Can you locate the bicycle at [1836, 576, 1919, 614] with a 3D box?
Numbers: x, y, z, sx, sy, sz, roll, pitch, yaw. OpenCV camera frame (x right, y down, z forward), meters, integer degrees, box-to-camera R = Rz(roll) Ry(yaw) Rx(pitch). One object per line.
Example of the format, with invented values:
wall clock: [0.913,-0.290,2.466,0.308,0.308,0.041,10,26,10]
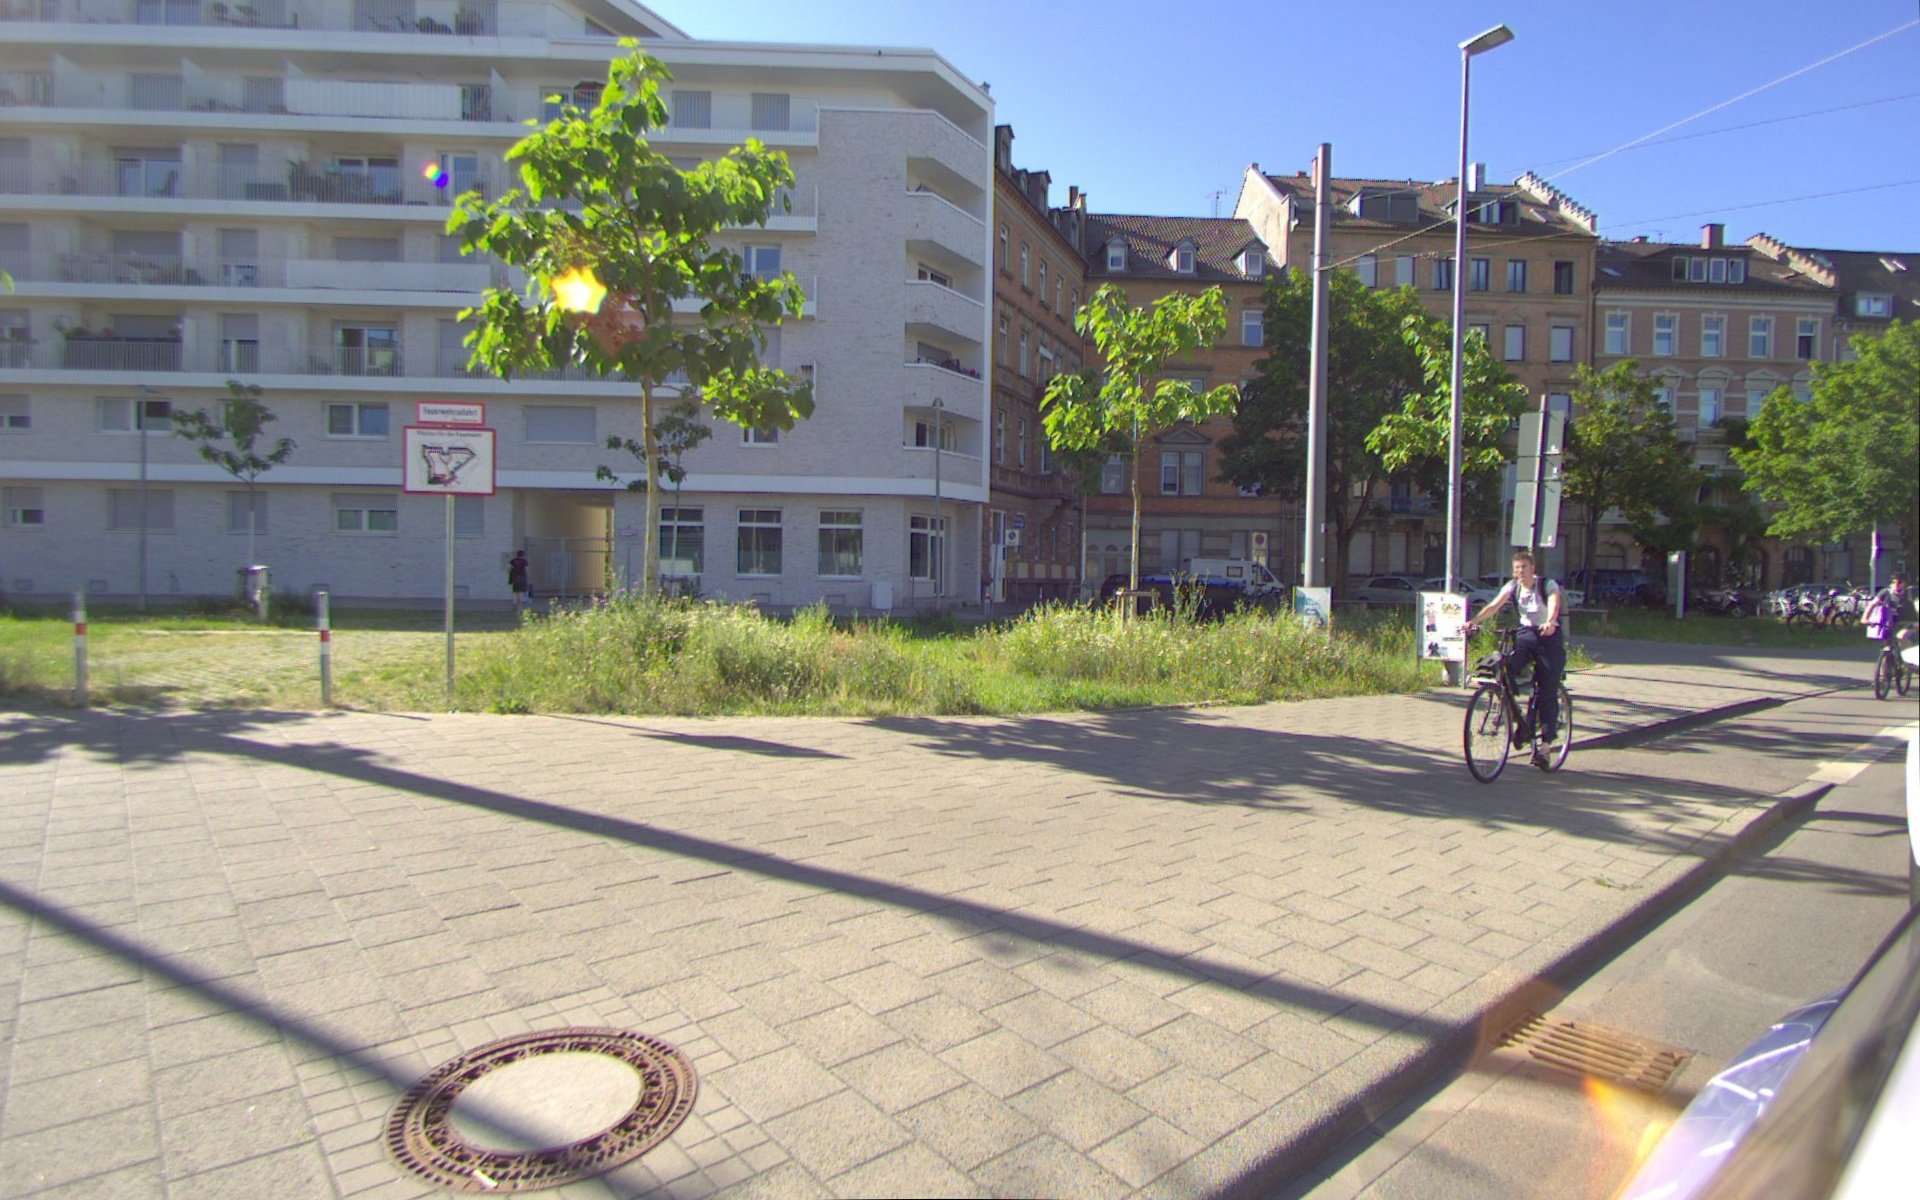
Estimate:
bicycle: [31.627,-0.168,34.764,2.180,1.284,0.657,0,0,25]

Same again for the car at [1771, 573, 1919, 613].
car: [34.683,-0.323,39.593,1.651,1.423,4.324,-1,3,-38]

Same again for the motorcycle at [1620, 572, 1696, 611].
motorcycle: [25.336,-0.309,36.781,0.650,1.347,2.207,0,0,-28]

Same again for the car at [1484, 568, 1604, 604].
car: [22.326,-0.581,38.774,1.513,1.267,3.700,-1,3,-39]

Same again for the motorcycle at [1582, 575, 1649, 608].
motorcycle: [26.024,-0.331,40.226,0.649,1.293,2.324,0,0,-18]

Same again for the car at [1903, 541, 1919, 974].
car: [5.866,0.606,4.717,4.323,1.667,1.840,0,0,-43]

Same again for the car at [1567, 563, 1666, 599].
car: [30.873,-0.923,47.651,3.631,1.607,1.552,1,2,0]

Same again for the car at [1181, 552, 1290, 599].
car: [12.658,-1.157,46.784,4.416,2.062,2.054,1,2,0]

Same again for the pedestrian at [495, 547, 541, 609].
pedestrian: [-12.586,-0.628,28.853,0.829,1.717,0.985,2,2,2]

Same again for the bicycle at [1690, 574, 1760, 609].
bicycle: [28.367,-0.313,37.566,0.649,1.284,2.208,0,0,-11]

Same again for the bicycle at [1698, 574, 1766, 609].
bicycle: [29.078,-0.322,38.153,0.649,1.284,2.208,0,0,-9]

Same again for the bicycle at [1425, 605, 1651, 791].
bicycle: [4.422,0.663,7.678,2.114,1.212,0.669,0,1,-36]

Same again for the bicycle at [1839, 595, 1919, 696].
bicycle: [13.657,0.619,14.721,2.034,1.378,0.738,0,1,-32]

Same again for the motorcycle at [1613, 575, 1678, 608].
motorcycle: [27.485,-0.337,40.612,0.649,1.284,2.209,0,0,-18]

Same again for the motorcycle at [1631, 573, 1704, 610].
motorcycle: [26.152,-0.323,37.469,0.649,1.339,2.208,0,0,-23]

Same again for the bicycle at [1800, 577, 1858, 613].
bicycle: [32.032,-0.195,37.335,0.653,1.284,2.196,0,0,12]

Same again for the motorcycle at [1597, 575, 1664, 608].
motorcycle: [26.694,-0.339,40.358,0.649,1.300,2.324,0,0,-18]

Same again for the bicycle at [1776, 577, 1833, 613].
bicycle: [30.938,-0.187,37.111,0.653,1.284,2.196,0,0,12]

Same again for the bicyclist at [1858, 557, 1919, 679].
bicyclist: [13.771,0.245,14.763,0.952,1.715,0.736,0,1,-32]

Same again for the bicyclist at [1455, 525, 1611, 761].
bicyclist: [4.305,0.290,7.602,0.953,1.649,0.669,0,1,-36]

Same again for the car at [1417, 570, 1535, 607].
car: [19.669,-0.470,38.719,1.648,1.267,3.709,0,3,-28]

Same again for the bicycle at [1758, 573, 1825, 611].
bicycle: [29.271,-0.294,35.674,0.651,1.284,2.202,0,0,4]

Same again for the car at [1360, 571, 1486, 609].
car: [17.346,-0.425,38.109,1.648,1.267,4.170,0,3,-28]

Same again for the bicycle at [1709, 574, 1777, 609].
bicycle: [29.721,-0.328,38.464,0.649,1.284,2.208,0,0,-9]

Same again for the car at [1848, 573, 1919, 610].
car: [37.819,-0.332,39.963,1.649,1.423,3.832,-1,3,-32]
